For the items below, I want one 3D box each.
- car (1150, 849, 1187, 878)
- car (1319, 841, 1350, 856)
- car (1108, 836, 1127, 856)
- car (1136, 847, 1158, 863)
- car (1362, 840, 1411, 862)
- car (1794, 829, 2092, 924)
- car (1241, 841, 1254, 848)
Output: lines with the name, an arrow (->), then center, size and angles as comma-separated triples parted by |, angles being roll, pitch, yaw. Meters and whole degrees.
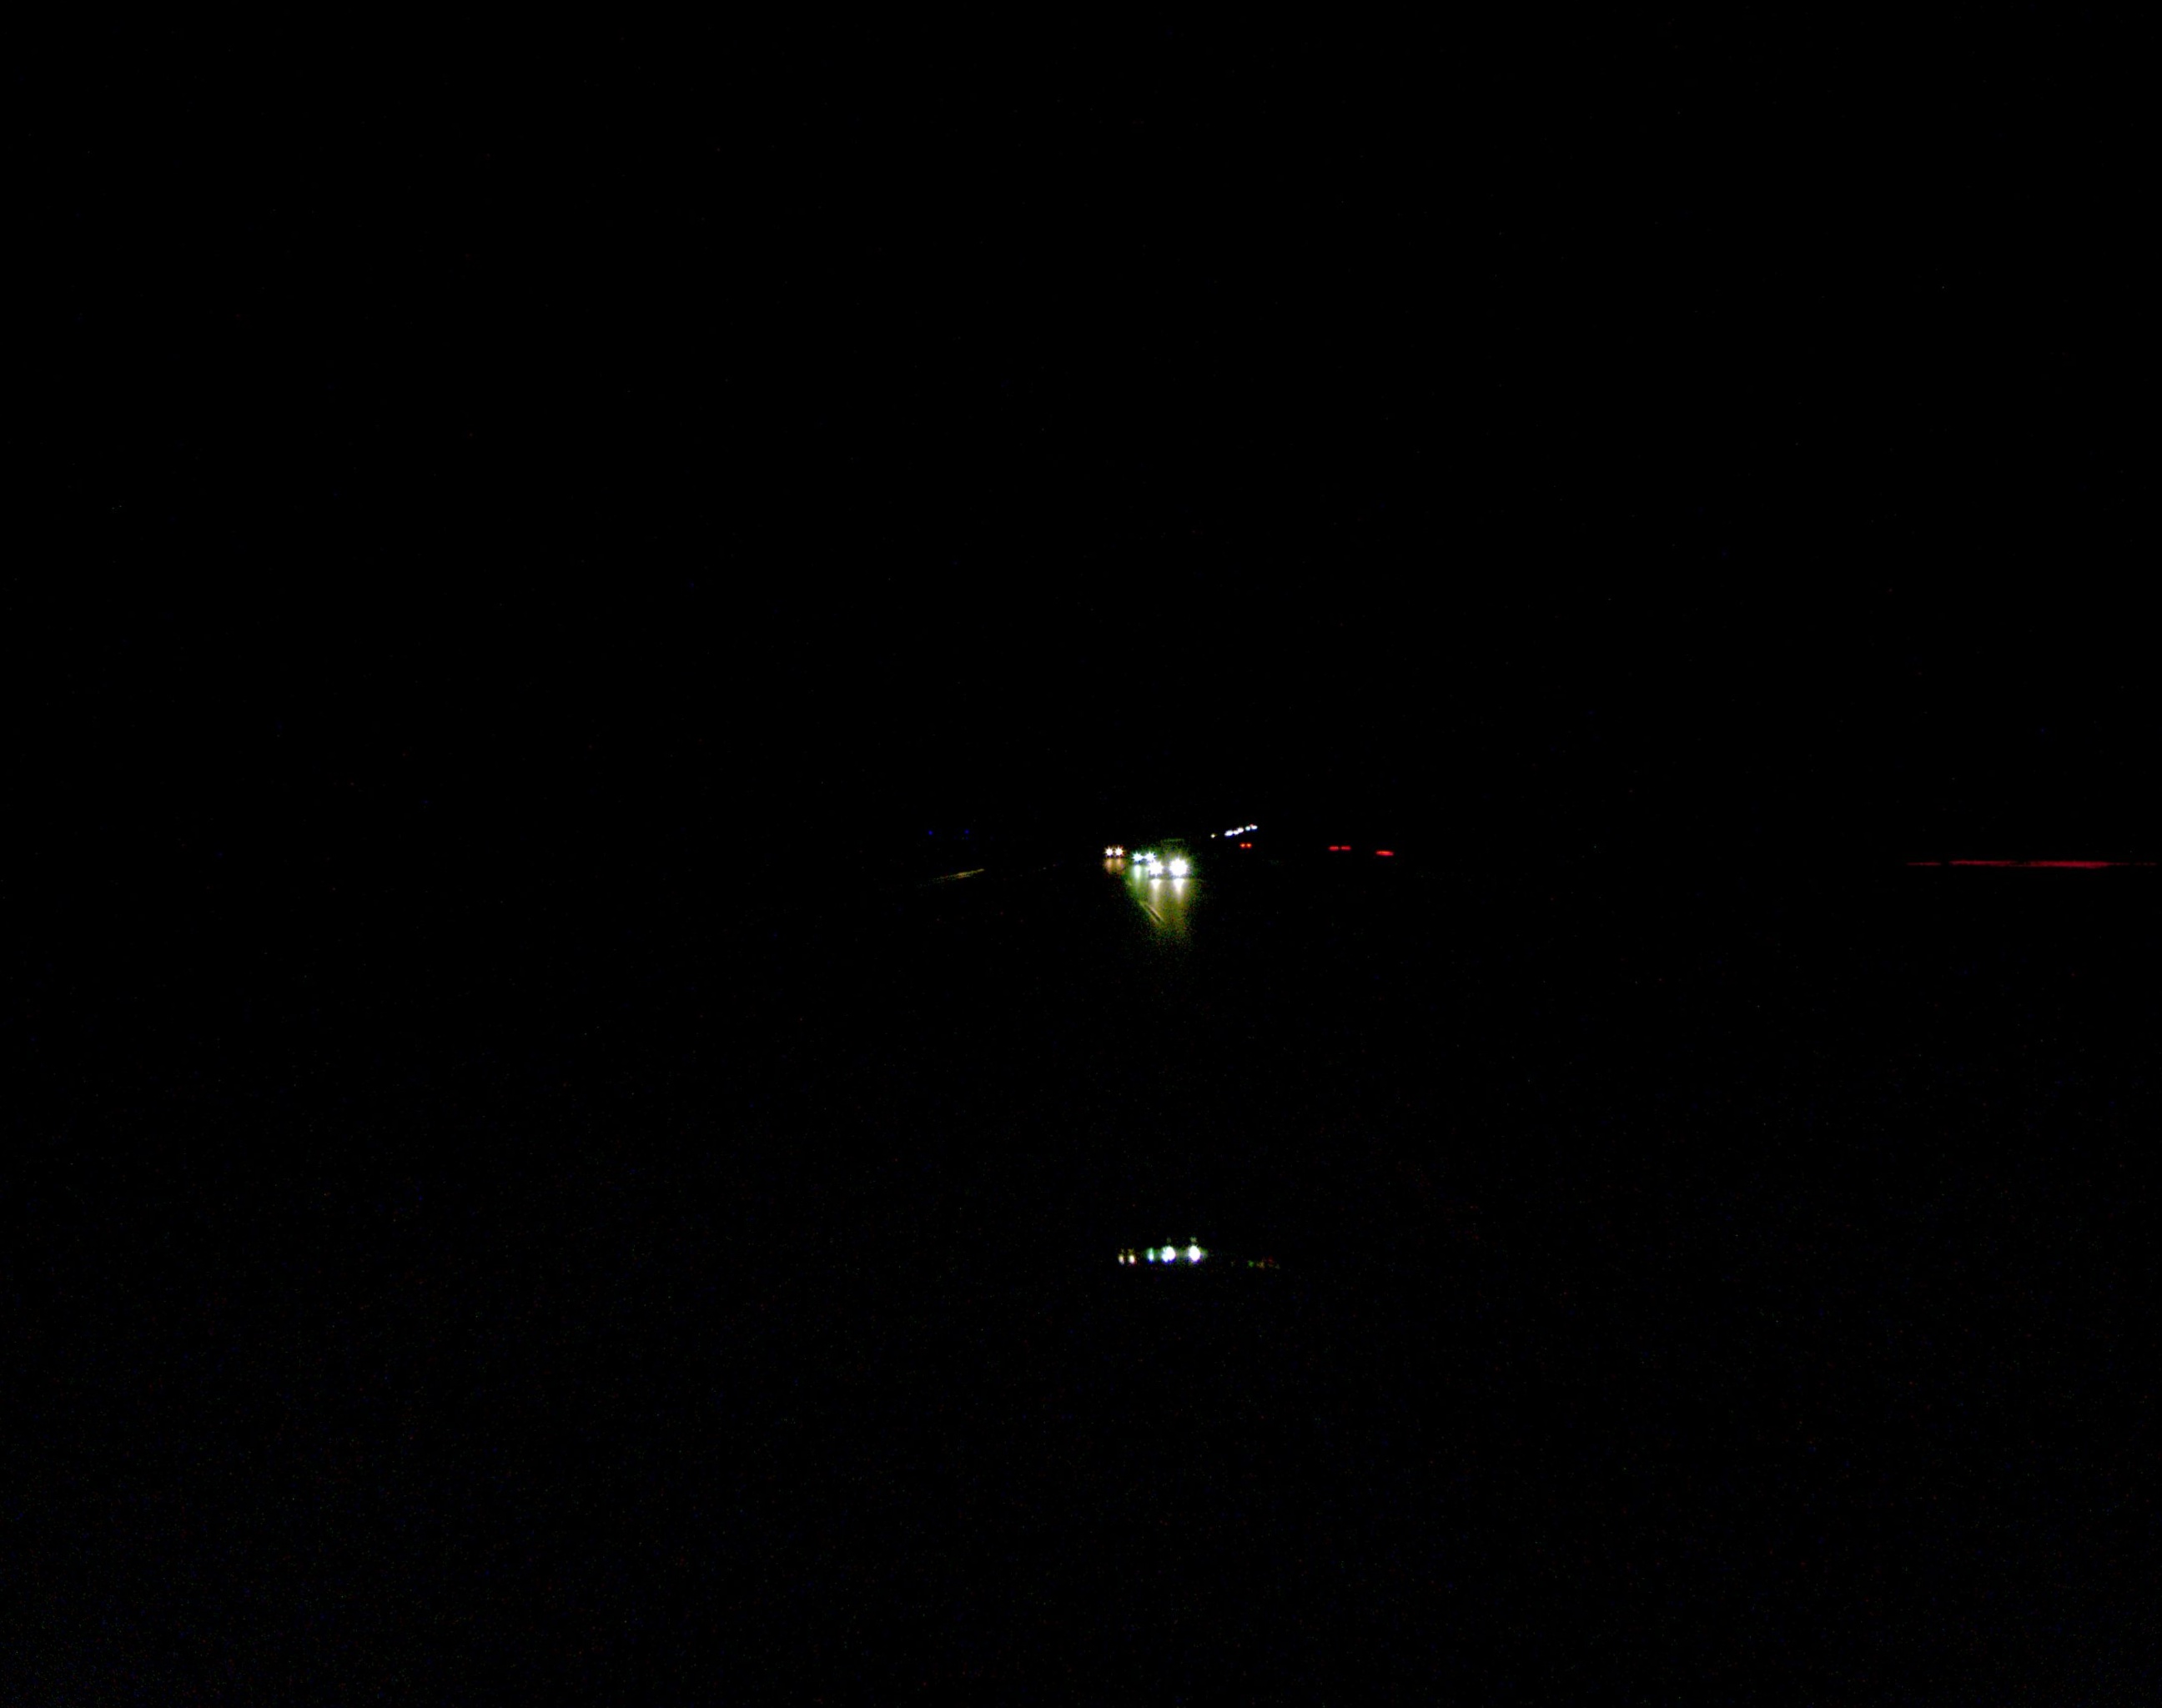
car -> 5.046, 0.532, 43.455 | 1.832, 1.404, 4.001 | -2, 2, 9
car -> 26.468, -0.546, 79.518 | 1.998, 1.499, 4.000 | -1, 1, 2
car -> 5.809, -1.327, 119.418 | 2.533, 2.889, 6.228 | -2, 2, 6
car -> 7.100, 0.110, 81.429 | 1.997, 1.456, 4.002 | -2, 2, 10
car -> 21.768, -0.218, 54.298 | 1.998, 1.499, 4.000 | -1, 1, 2
car -> 17.111, 0.336, 15.425 | 1.539, 1.589, 3.999 | -3, 2, 1
car -> 36.098, -2.140, 165.155 | 1.998, 1.499, 4.315 | -1, 1, 2
